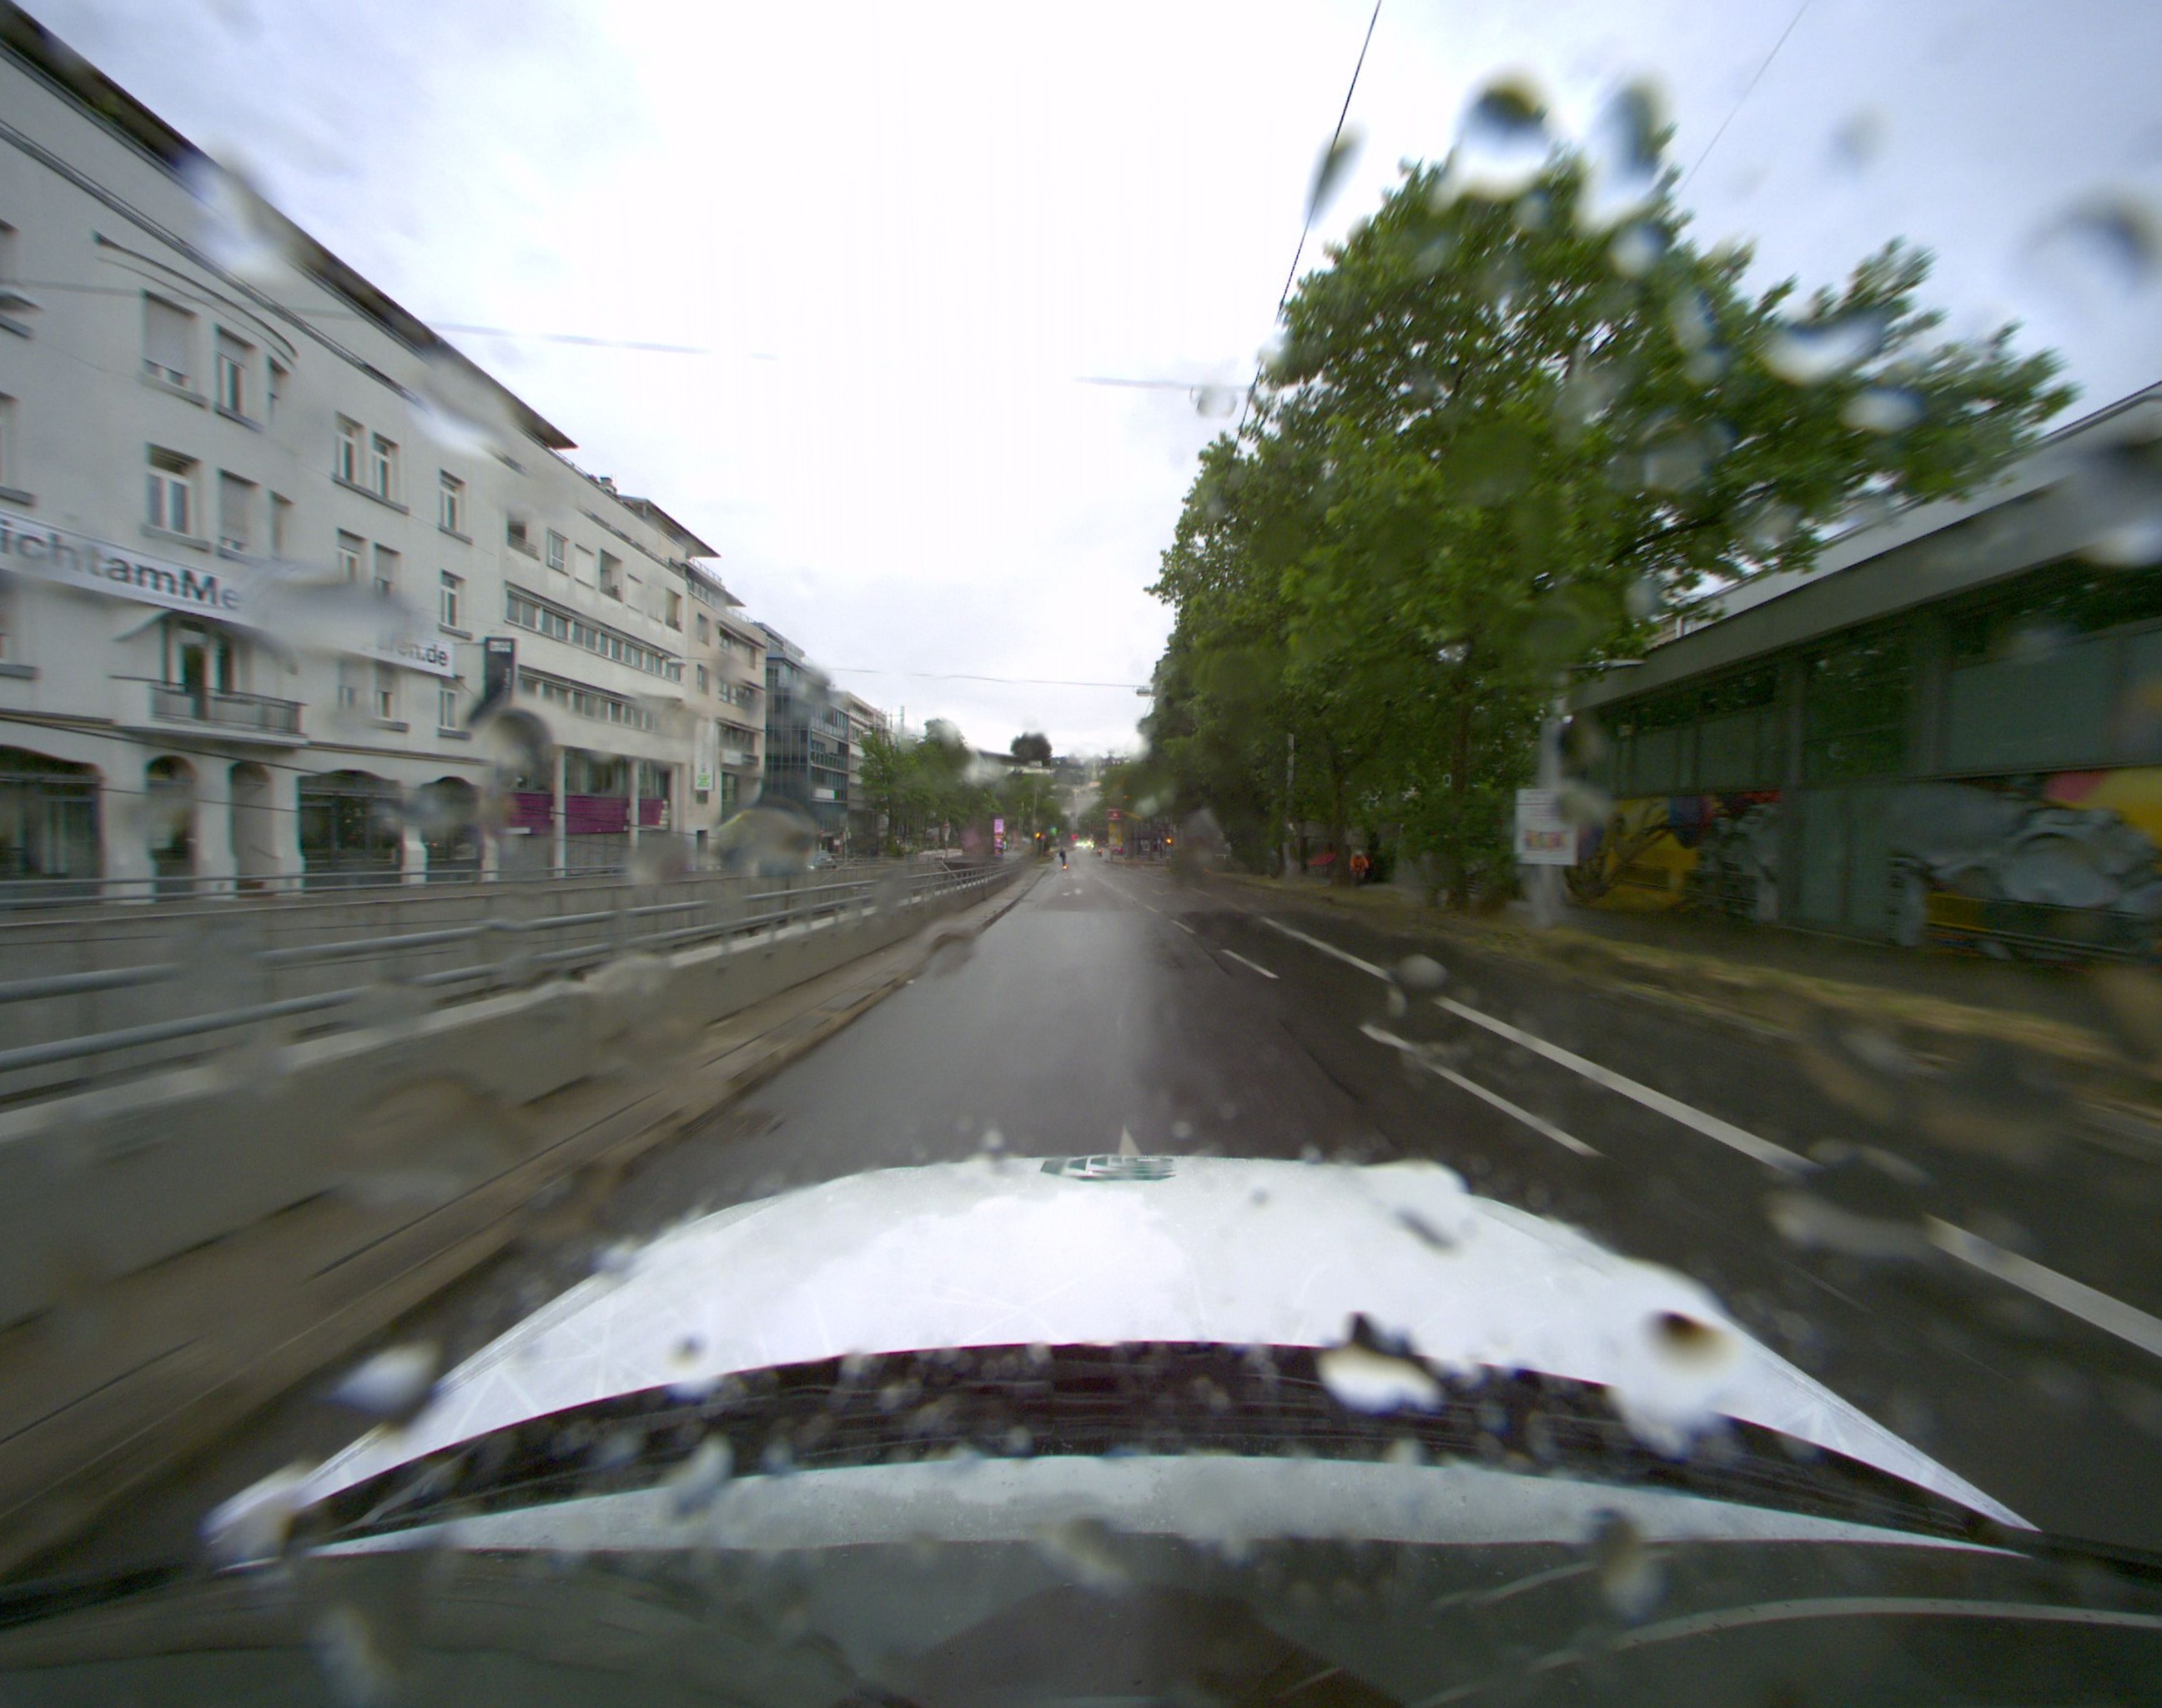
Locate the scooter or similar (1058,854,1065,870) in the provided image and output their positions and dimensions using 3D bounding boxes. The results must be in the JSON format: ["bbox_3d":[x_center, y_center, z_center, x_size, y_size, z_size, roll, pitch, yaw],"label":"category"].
[{"bbox_3d":[-1.817,0.744,74.907,0.544,1.418,1.953,1,0,-3],"label":"scooter or similar"}]

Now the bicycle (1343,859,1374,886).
[{"bbox_3d":[12.134,0.803,35.695,0.802,1.112,2.201,1,0,6],"label":"bicycle"}]

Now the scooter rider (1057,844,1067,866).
[{"bbox_3d":[-1.765,0.108,75.015,0.806,1.948,0.821,2,0,-3],"label":"scooter rider"}]

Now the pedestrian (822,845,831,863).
[{"bbox_3d":[-23.840,-0.039,76.191,0.662,1.671,0.487,1,0,-3],"label":"pedestrian"}]

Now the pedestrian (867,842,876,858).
[{"bbox_3d":[-24.729,-0.433,96.143,0.875,1.868,0.865,2,0,-4],"label":"pedestrian"}]

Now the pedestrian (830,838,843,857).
[{"bbox_3d":[-25.000,-0.640,83.212,0.857,1.868,0.964,2,0,17],"label":"pedestrian"}]

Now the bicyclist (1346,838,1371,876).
[{"bbox_3d":[12.132,0.148,35.588,0.802,1.628,1.048,1,0,5],"label":"bicyclist"}]

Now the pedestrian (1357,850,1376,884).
[{"bbox_3d":[16.050,0.728,45.828,0.802,1.864,1.058,0,0,8],"label":"pedestrian"}]

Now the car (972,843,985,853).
[{"bbox_3d":[-17.904,-1.085,142.240,1.776,1.555,3.891,2,2,-2],"label":"car"}]

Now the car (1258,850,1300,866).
[{"bbox_3d":[21.808,0.413,89.547,4.366,1.684,1.736,1,0,-27],"label":"car"}]

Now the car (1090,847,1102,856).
[{"bbox_3d":[2.409,-0.430,132.686,1.741,1.519,4.104,1,0,-1],"label":"car"}]

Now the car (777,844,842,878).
[{"bbox_3d":[-14.211,0.326,42.894,1.830,1.713,4.577,1,1,0],"label":"car"}]

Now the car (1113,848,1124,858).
[{"bbox_3d":[6.624,-0.241,143.290,1.893,1.684,3.913,2,0,3],"label":"car"}]
